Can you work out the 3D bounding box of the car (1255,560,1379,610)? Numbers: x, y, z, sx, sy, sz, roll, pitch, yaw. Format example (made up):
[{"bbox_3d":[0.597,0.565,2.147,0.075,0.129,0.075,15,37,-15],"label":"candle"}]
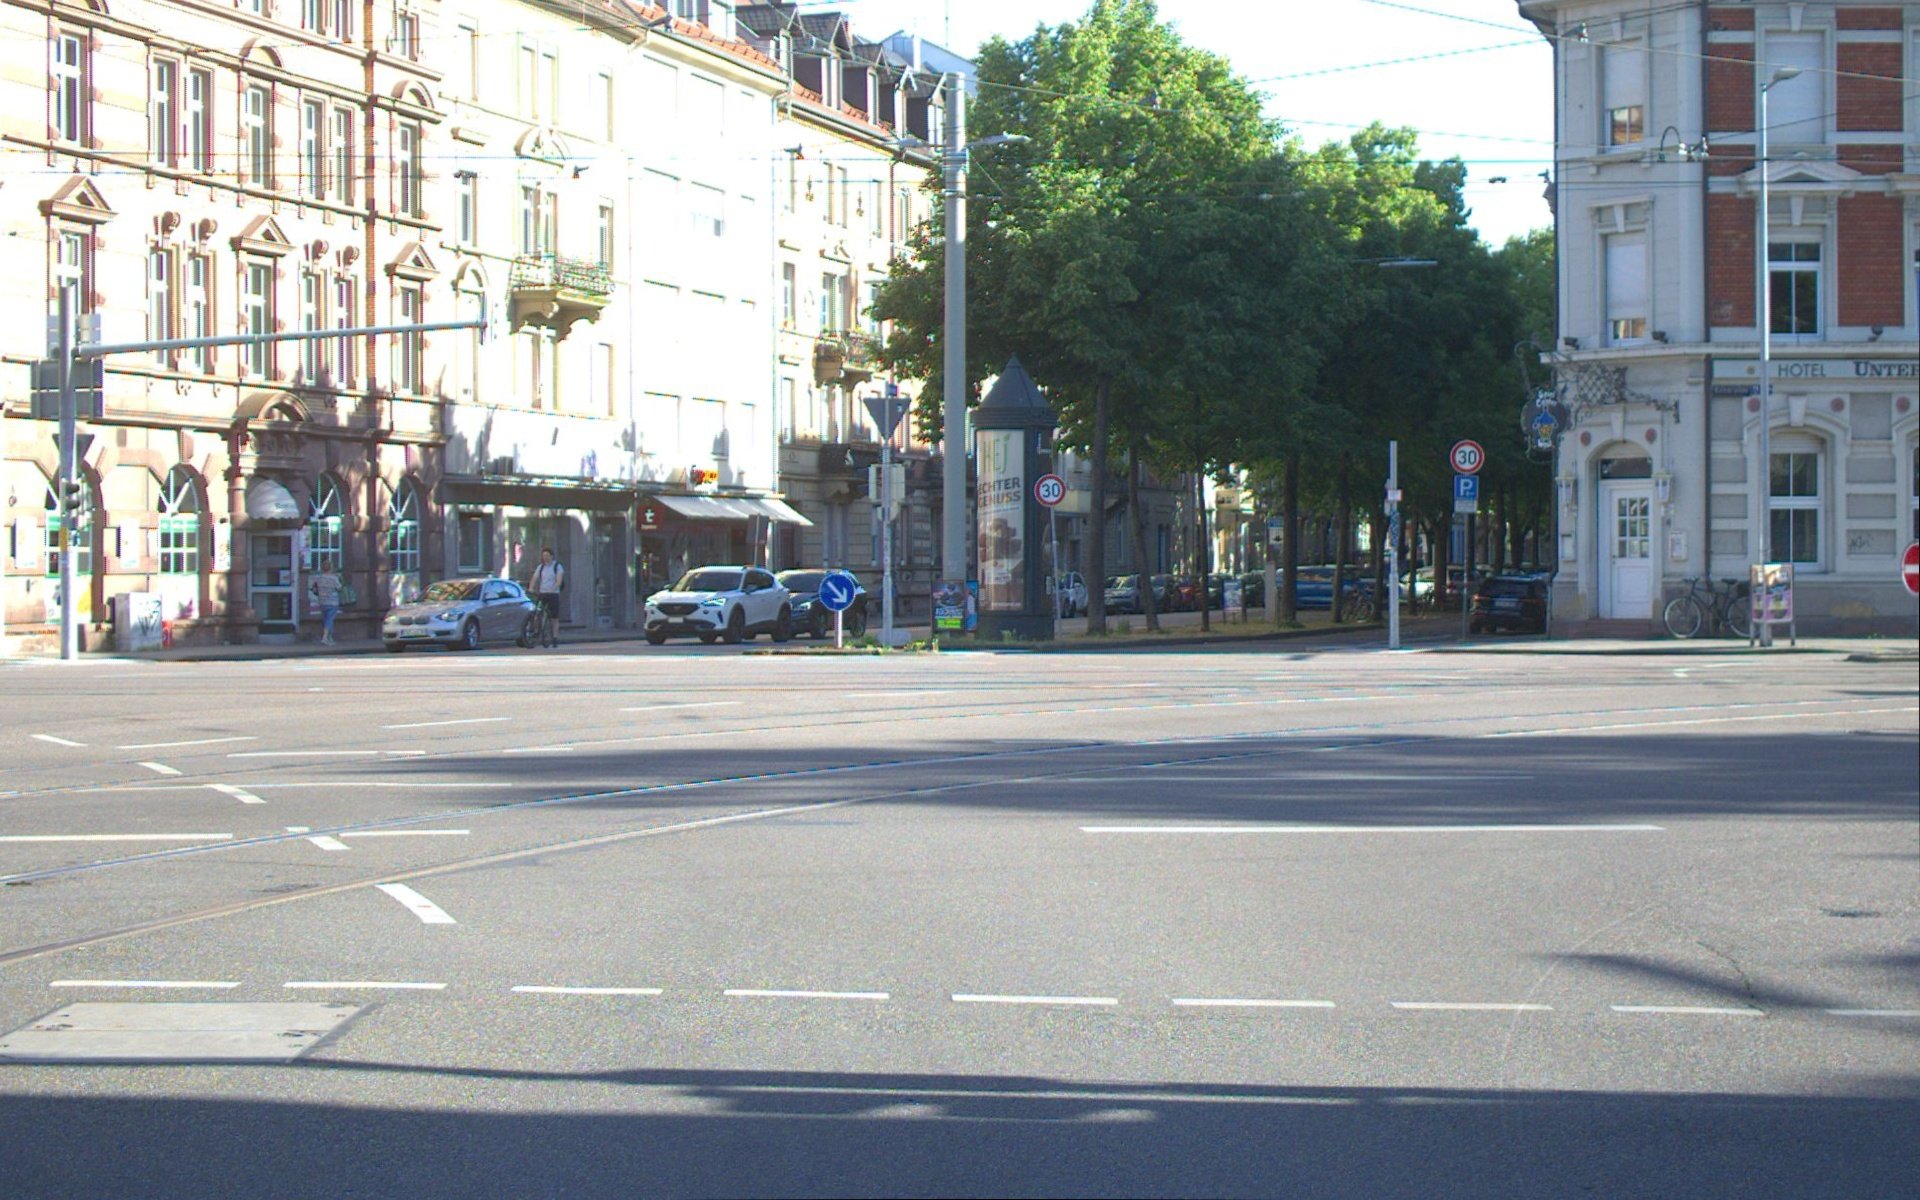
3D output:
[{"bbox_3d":[12.008,-0.508,115.660,3.905,1.642,1.681,0,1,17],"label":"car"}]

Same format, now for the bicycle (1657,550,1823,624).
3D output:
[{"bbox_3d":[12.978,-0.211,57.258,2.554,1.170,0.819,1,0,-3],"label":"bicycle"}]

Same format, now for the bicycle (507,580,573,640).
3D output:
[{"bbox_3d":[-7.969,0.185,65.250,0.702,1.114,1.634,1,1,13],"label":"bicycle"}]

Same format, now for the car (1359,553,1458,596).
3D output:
[{"bbox_3d":[17.406,-0.998,133.489,3.582,1.642,1.681,0,1,17],"label":"car"}]

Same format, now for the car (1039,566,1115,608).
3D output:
[{"bbox_3d":[3.950,-0.440,115.463,1.678,1.349,3.588,0,1,17],"label":"car"}]

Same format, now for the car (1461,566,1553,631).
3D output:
[{"bbox_3d":[13.162,-0.059,82.556,1.678,1.478,3.945,0,1,17],"label":"car"}]

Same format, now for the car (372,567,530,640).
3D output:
[{"bbox_3d":[-9.862,0.057,66.895,1.678,1.349,3.588,0,1,17],"label":"car"}]

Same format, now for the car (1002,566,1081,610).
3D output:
[{"bbox_3d":[2.652,-0.397,111.307,1.678,1.349,3.588,0,1,17],"label":"car"}]

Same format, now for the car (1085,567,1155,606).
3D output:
[{"bbox_3d":[5.722,-0.490,122.425,1.678,1.349,3.588,0,1,17],"label":"car"}]

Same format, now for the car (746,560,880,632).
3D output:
[{"bbox_3d":[-3.109,-0.101,73.600,1.678,1.478,3.945,0,1,17],"label":"car"}]

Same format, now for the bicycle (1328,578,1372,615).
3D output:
[{"bbox_3d":[11.275,-0.103,99.466,0.636,1.018,1.847,1,1,-14],"label":"bicycle"}]

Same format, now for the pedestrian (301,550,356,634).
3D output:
[{"bbox_3d":[-12.635,-0.161,68.806,0.776,1.664,0.830,1,0,15],"label":"pedestrian"}]

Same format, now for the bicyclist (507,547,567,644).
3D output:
[{"bbox_3d":[-8.005,-0.088,65.124,0.779,1.797,1.055,1,0,14],"label":"bicyclist"}]

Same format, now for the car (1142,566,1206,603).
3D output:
[{"bbox_3d":[8.159,-0.611,130.730,1.678,1.349,3.588,0,1,17],"label":"car"}]

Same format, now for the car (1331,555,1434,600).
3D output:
[{"bbox_3d":[15.731,-0.844,128.015,3.582,1.642,1.681,0,1,17],"label":"car"}]

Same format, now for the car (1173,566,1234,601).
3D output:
[{"bbox_3d":[9.632,-0.649,135.761,1.678,1.349,3.588,0,1,17],"label":"car"}]

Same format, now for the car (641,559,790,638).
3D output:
[{"bbox_3d":[-4.751,-0.052,67.298,1.678,1.478,3.768,0,1,17],"label":"car"}]
